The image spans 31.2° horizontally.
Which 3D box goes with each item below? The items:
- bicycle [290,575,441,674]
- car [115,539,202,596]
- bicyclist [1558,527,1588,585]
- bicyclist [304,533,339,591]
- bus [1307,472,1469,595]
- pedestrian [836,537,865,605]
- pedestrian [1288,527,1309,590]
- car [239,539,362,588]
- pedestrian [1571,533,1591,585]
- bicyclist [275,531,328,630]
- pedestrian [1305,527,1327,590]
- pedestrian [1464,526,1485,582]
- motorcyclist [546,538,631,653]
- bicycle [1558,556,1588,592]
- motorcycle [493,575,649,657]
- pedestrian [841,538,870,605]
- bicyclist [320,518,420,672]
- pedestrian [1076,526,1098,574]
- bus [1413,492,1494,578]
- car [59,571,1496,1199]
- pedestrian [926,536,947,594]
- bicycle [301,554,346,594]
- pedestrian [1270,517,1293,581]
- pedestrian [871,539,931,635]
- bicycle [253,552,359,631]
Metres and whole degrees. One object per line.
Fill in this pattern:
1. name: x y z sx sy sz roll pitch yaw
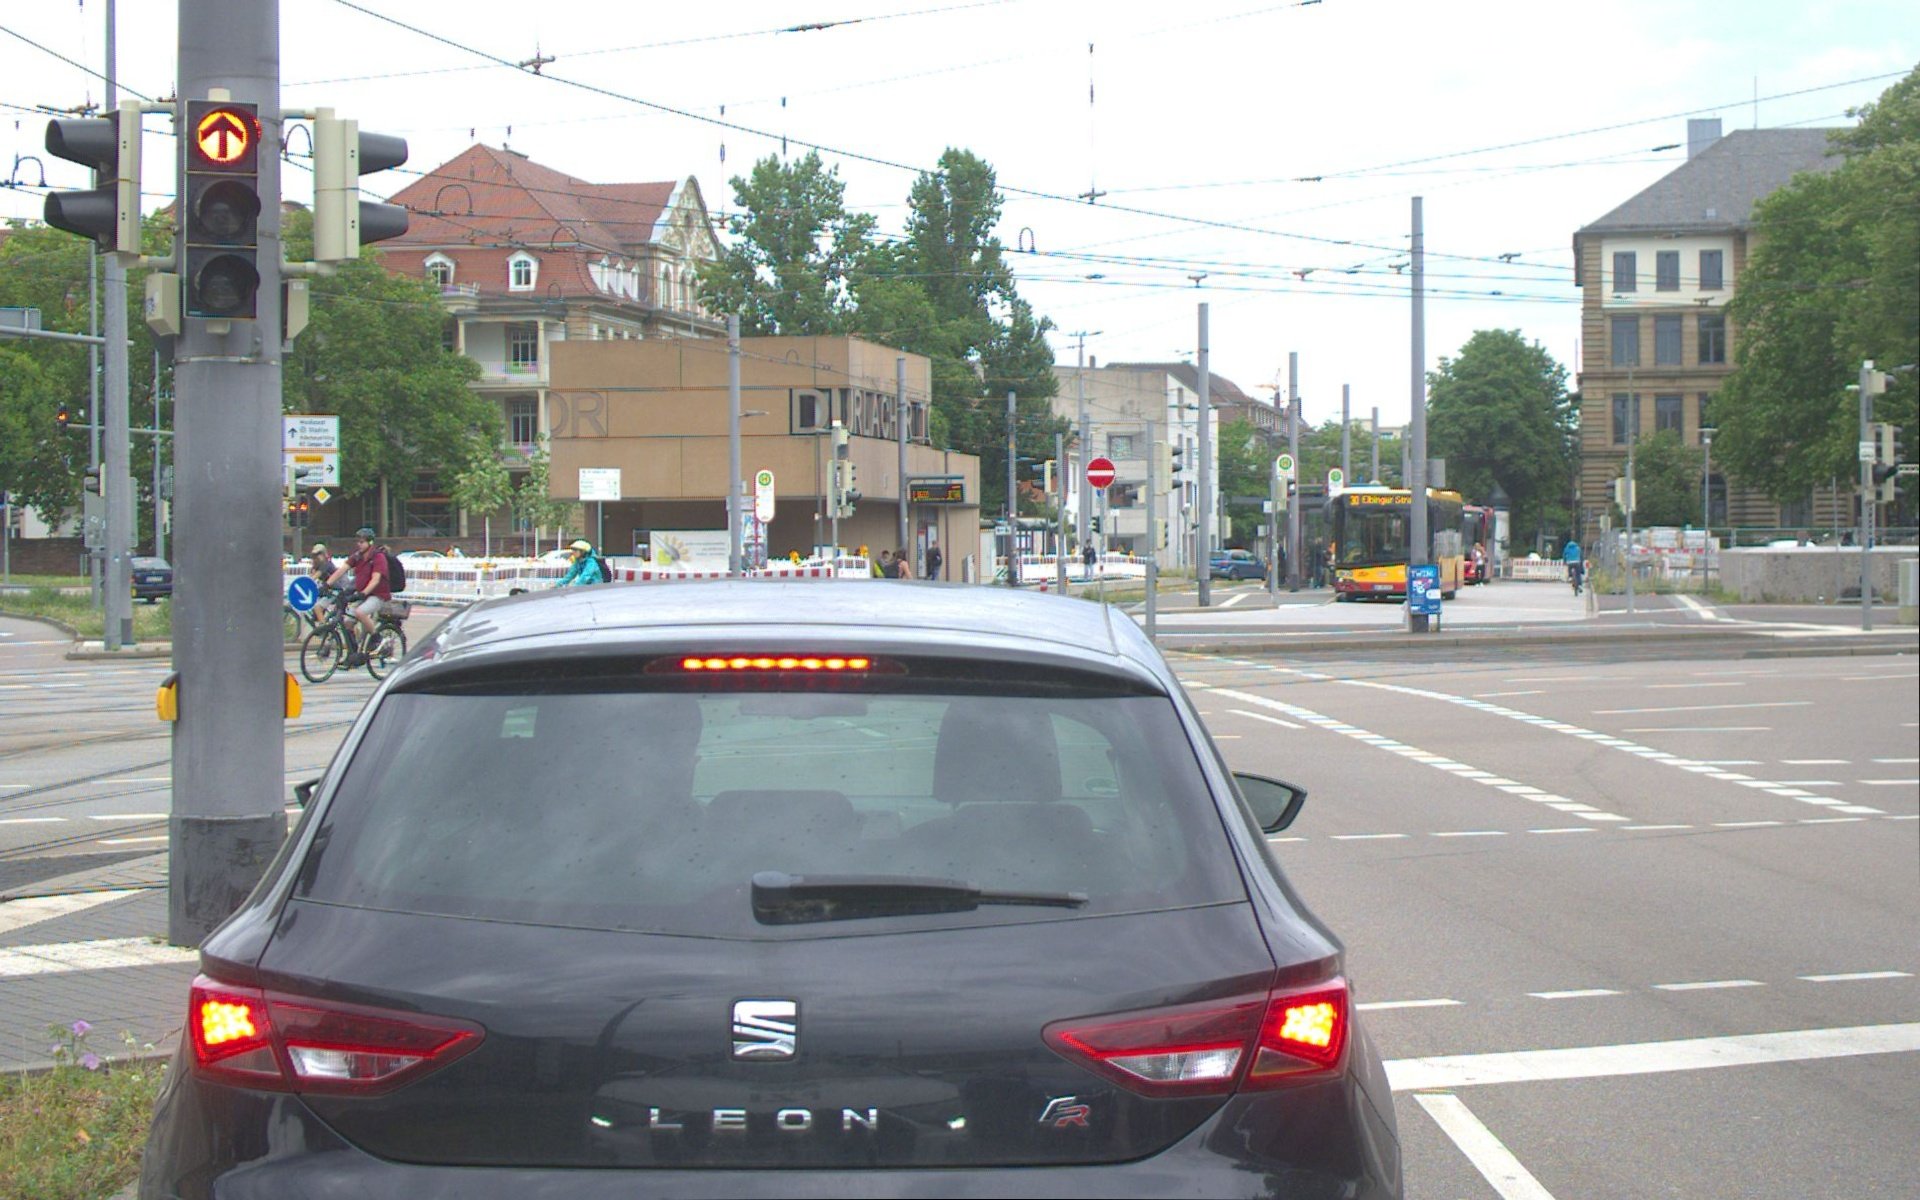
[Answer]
1. bicycle: -7.383 0.289 42.793 0.776 1.180 2.029 0 1 28
2. car: -24.446 -0.976 104.761 1.993 1.678 4.001 0 0 -22
3. bicyclist: 19.533 -1.398 109.535 0.872 1.845 1.047 0 1 12
4. bicyclist: -19.334 -1.154 104.090 0.882 1.726 0.894 0 1 -22
5. bus: 11.760 -1.801 93.450 2.962 3.112 11.531 0 1 14
6. pedestrian: -3.077 -0.811 96.574 0.708 1.911 0.623 0 1 7
7. pedestrian: 10.402 -1.282 105.634 0.621 1.911 0.710 0 1 3
8. car: -23.594 -1.291 123.036 3.987 1.678 2.000 -1 0 1
9. pedestrian: 24.448 -1.619 135.319 0.662 2.007 0.692 0 1 0
10. bicyclist: -11.256 -0.338 58.790 0.854 1.667 0.654 0 1 -13
11. pedestrian: 10.827 -1.253 104.610 0.621 1.911 0.698 0 1 9
12. pedestrian: 18.611 -1.655 124.343 0.662 2.007 0.692 0 1 0
13. motorcyclist: -5.391 -0.074 49.908 0.977 1.644 0.750 -1 0 -33
14. bicycle: 19.494 -0.838 109.309 0.866 1.101 2.301 0 1 12
15. motorcycle: -5.627 0.221 49.748 2.135 1.135 0.744 -1 1 -33
16. pedestrian: -2.955 -0.809 97.371 0.708 1.911 0.623 0 1 7
17. bicyclist: -7.349 -0.066 42.845 0.776 1.891 0.995 0 1 28
18. pedestrian: 5.096 -2.008 137.750 0.622 1.911 0.709 -1 0 25
19. bus: 19.667 -2.560 136.660 2.655 3.272 10.990 0 1 11
20. car: -0.352 0.691 5.993 1.704 1.444 3.813 0 1 -4
21. pedestrian: -0.772 -1.145 113.489 0.621 1.911 0.710 0 1 3
22. bicycle: -19.256 -0.795 103.935 0.891 1.174 2.302 0 1 -22
23. pedestrian: 9.730 -1.538 104.055 0.621 1.911 0.698 0 1 9
24. pedestrian: -1.199 -0.275 70.016 0.700 1.927 1.028 0 1 38
25. bicycle: -11.190 -0.151 58.808 1.730 1.317 0.645 -1 1 -14
